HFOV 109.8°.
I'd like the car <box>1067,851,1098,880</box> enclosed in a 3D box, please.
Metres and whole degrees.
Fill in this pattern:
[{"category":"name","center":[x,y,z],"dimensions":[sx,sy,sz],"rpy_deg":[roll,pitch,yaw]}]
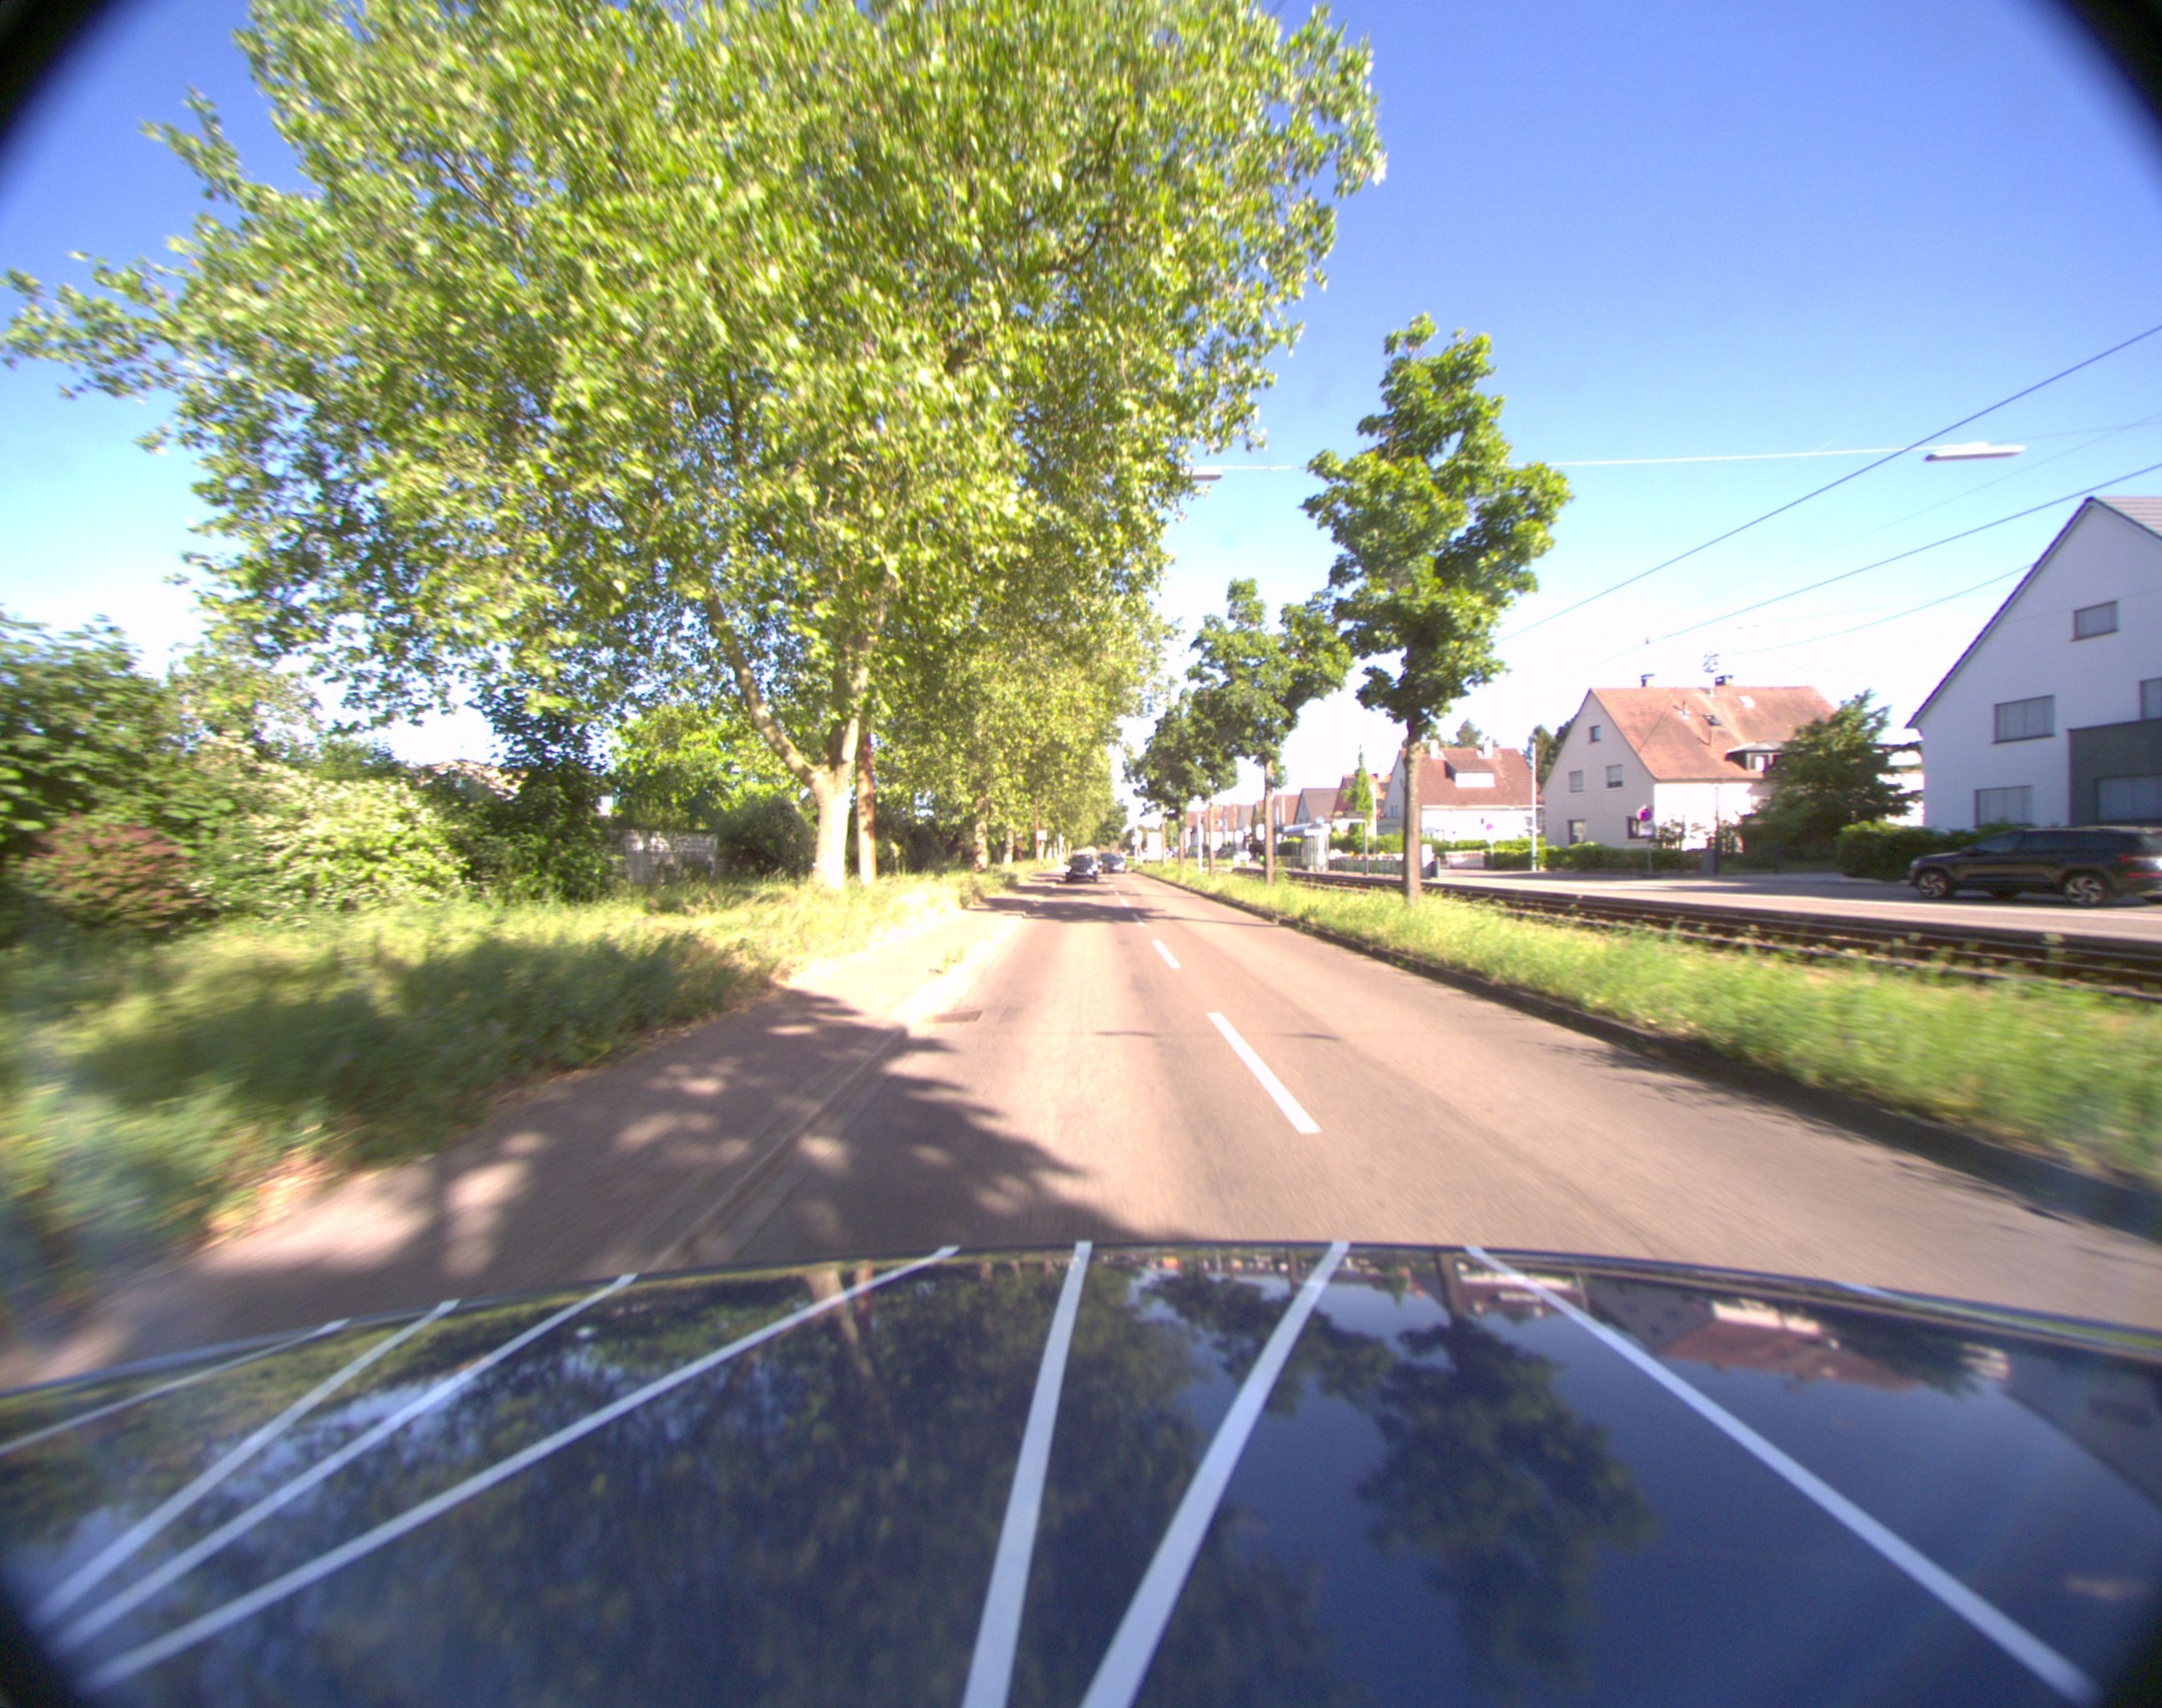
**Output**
[{"category":"car","center":[0.097,0.621,43.311],"dimensions":[1.692,1.499,3.582],"rpy_deg":[-1,1,1]}]

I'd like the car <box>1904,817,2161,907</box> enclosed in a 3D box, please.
[{"category":"car","center":[21.684,0.101,16.903],"dimensions":[1.998,1.703,4.390],"rpy_deg":[-2,1,0]}]

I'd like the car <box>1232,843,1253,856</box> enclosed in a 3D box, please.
[{"category":"car","center":[22.578,-0.630,106.298],"dimensions":[1.998,1.669,4.838],"rpy_deg":[-2,1,1]}]

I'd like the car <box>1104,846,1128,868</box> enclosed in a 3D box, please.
[{"category":"car","center":[2.651,0.202,58.438],"dimensions":[1.692,1.499,3.582],"rpy_deg":[-2,1,1]}]

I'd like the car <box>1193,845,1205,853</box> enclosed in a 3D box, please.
[{"category":"car","center":[22.629,-1.021,145.482],"dimensions":[1.738,1.481,3.755],"rpy_deg":[-2,1,1]}]

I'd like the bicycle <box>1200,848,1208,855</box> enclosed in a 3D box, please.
[{"category":"bicycle","center":[20.905,-0.470,129.244],"dimensions":[0.854,1.128,2.308],"rpy_deg":[-2,1,1]}]

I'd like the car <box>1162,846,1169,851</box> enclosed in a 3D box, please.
[{"category":"car","center":[23.762,-1.575,213.605],"dimensions":[1.791,1.497,4.000],"rpy_deg":[-2,1,4]}]

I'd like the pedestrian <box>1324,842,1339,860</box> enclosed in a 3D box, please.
[{"category":"pedestrian","center":[21.076,-0.259,63.957],"dimensions":[0.814,1.525,0.793],"rpy_deg":[-1,-1,-22]}]

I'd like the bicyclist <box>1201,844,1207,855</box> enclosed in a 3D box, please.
[{"category":"bicyclist","center":[20.894,-0.811,129.161],"dimensions":[0.854,1.876,1.072],"rpy_deg":[-2,1,1]}]

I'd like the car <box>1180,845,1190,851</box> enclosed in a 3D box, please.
[{"category":"car","center":[22.211,-1.300,162.319],"dimensions":[1.756,1.373,3.823],"rpy_deg":[-2,1,1]}]

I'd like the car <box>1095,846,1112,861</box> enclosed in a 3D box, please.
[{"category":"car","center":[2.409,-0.107,82.288],"dimensions":[1.692,1.499,3.582],"rpy_deg":[-2,1,1]}]
